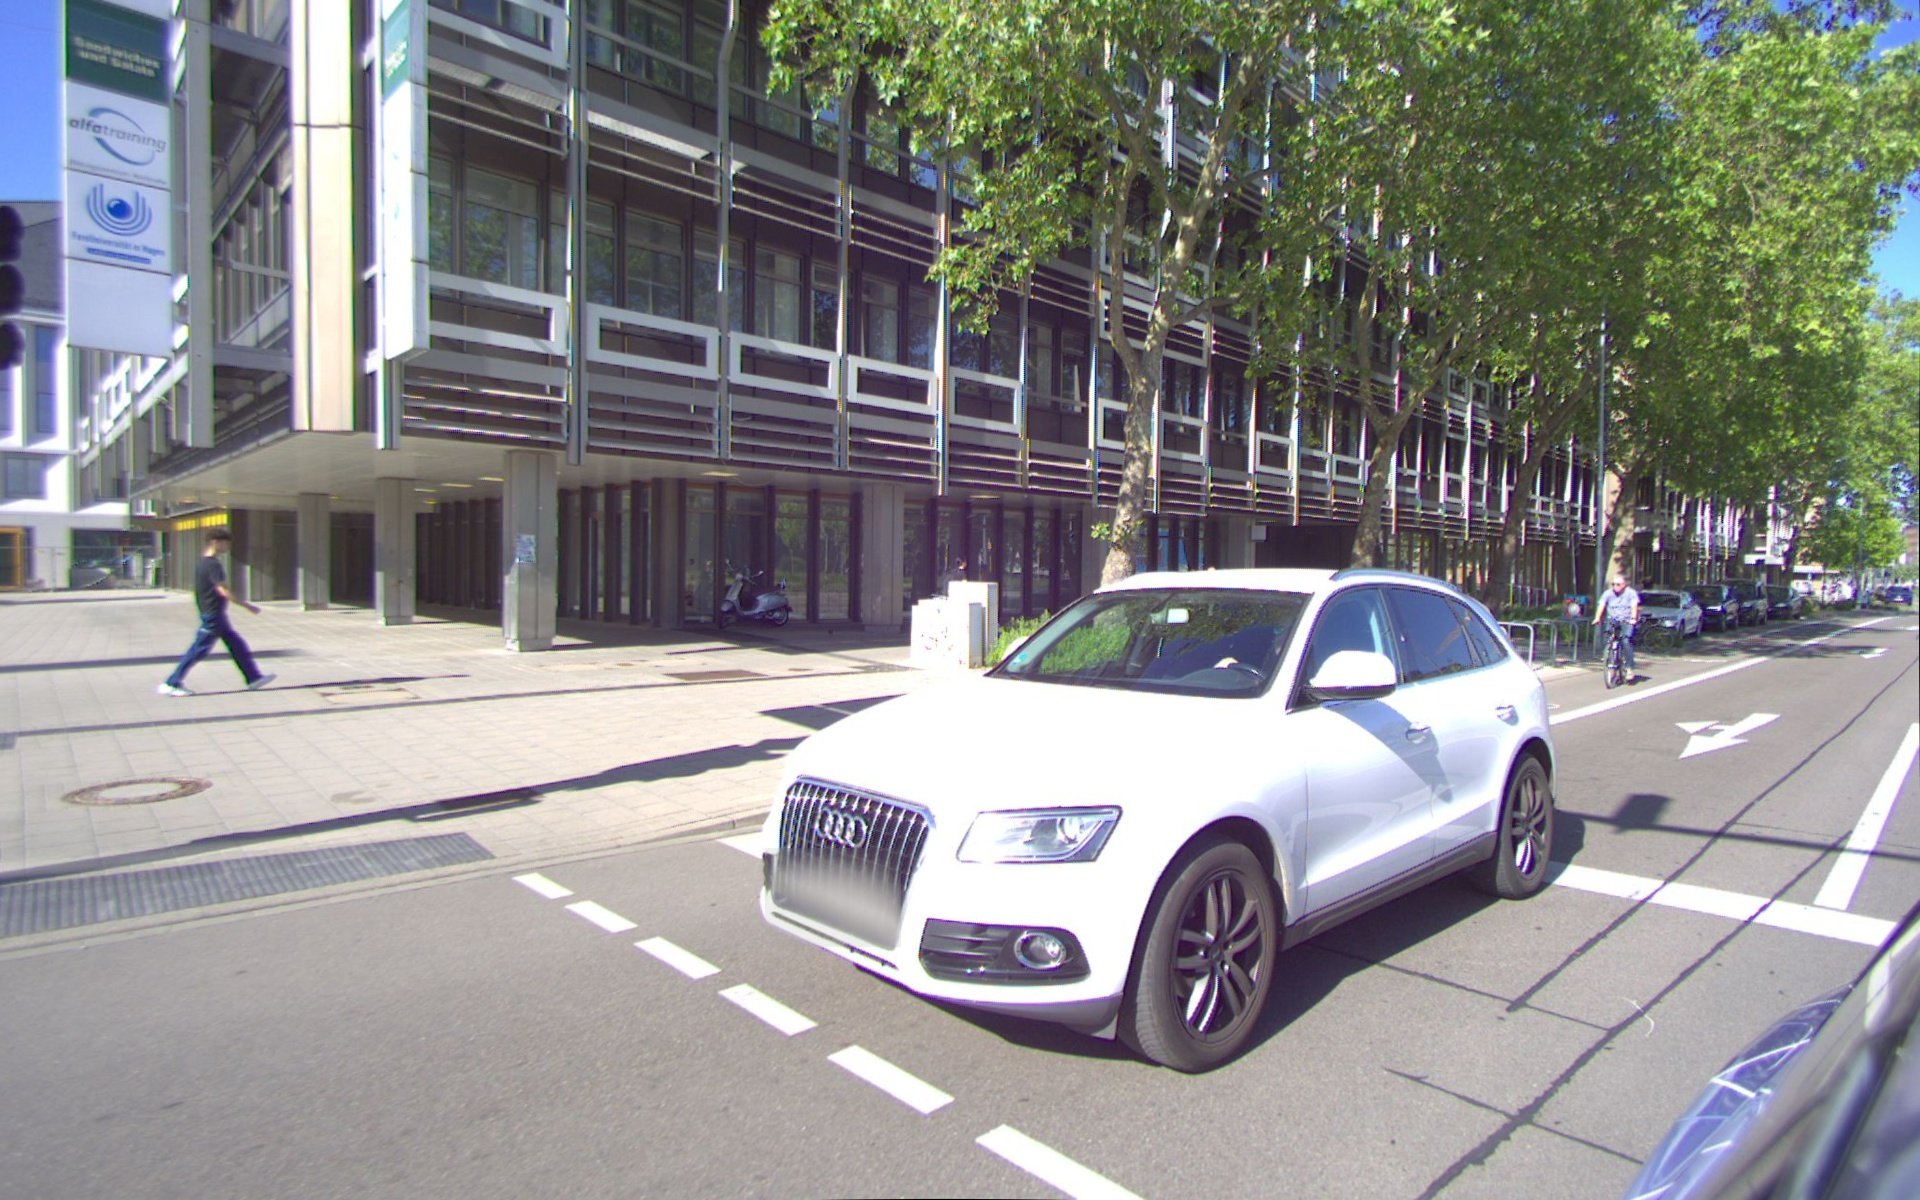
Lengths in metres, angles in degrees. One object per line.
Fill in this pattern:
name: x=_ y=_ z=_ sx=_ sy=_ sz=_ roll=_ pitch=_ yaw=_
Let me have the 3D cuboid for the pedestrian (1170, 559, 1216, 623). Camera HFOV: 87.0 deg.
pedestrian: x=6.183 y=-0.247 z=26.851 sx=0.992 sy=1.620 sz=0.667 roll=0 pitch=4 yaw=-43

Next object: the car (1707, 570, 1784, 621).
car: x=30.786 y=-0.203 z=39.620 sx=4.266 sy=1.843 sz=1.750 roll=-1 pitch=3 yaw=-44

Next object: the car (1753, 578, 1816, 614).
car: x=38.747 y=-0.224 z=47.530 sx=4.266 sy=1.573 sz=1.750 roll=-1 pitch=3 yaw=-44

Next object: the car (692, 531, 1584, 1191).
car: x=1.177 y=0.609 z=4.661 sx=4.338 sy=1.633 sz=1.822 roll=-1 pitch=1 yaw=-43

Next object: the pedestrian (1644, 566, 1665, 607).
pedestrian: x=34.821 y=-0.684 z=50.721 sx=0.615 sy=2.039 sz=0.740 roll=0 pitch=1 yaw=-43

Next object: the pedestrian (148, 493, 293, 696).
pedestrian: x=-7.937 y=-0.071 z=10.871 sx=0.945 sy=2.039 sz=1.064 roll=1 pitch=1 yaw=39

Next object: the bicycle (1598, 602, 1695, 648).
bicycle: x=16.854 y=0.603 z=24.872 sx=1.843 sy=0.972 sz=0.701 roll=4 pitch=3 yaw=42

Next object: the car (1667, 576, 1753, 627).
car: x=26.578 y=0.004 z=35.818 sx=4.266 sy=1.653 sz=1.750 roll=-1 pitch=3 yaw=-44

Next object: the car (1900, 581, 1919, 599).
car: x=84.449 y=-0.891 z=89.400 sx=1.994 sy=1.627 sz=3.834 roll=1 pitch=1 yaw=44

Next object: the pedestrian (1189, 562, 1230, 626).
pedestrian: x=6.508 y=-0.171 z=26.420 sx=0.715 sy=1.620 sz=0.667 roll=0 pitch=3 yaw=-41

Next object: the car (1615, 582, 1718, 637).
car: x=21.854 y=0.239 z=31.250 sx=4.485 sy=1.508 sz=1.750 roll=-1 pitch=3 yaw=-44

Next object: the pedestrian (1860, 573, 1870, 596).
pedestrian: x=75.022 y=-1.294 z=83.893 sx=0.560 sy=1.863 sz=0.590 roll=0 pitch=1 yaw=-44

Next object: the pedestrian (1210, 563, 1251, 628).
pedestrian: x=6.891 y=-0.125 z=25.818 sx=0.716 sy=1.620 sz=0.667 roll=0 pitch=4 yaw=-43

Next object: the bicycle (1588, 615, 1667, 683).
bicycle: x=10.820 y=0.759 z=16.376 sx=0.709 sy=1.006 sz=1.893 roll=-1 pitch=-1 yaw=45

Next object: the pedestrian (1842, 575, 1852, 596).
pedestrian: x=77.122 y=-1.263 z=87.946 sx=0.560 sy=1.863 sz=0.590 roll=0 pitch=1 yaw=-44

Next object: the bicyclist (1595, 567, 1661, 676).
bicyclist: x=10.823 y=0.336 z=16.394 sx=0.709 sy=1.709 sz=0.839 roll=-2 pitch=-1 yaw=45

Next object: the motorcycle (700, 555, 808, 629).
motorcycle: x=-4.253 y=-0.191 z=21.023 sx=2.087 sy=1.459 sz=0.824 roll=-1 pitch=2 yaw=-44

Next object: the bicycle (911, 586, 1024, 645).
bicycle: x=0.155 y=0.249 z=18.483 sx=2.017 sy=0.997 sz=0.882 roll=-1 pitch=2 yaw=-44

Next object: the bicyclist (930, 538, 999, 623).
bicyclist: x=0.082 y=-0.354 z=18.384 sx=0.869 sy=1.495 sz=0.882 roll=0 pitch=1 yaw=-44
